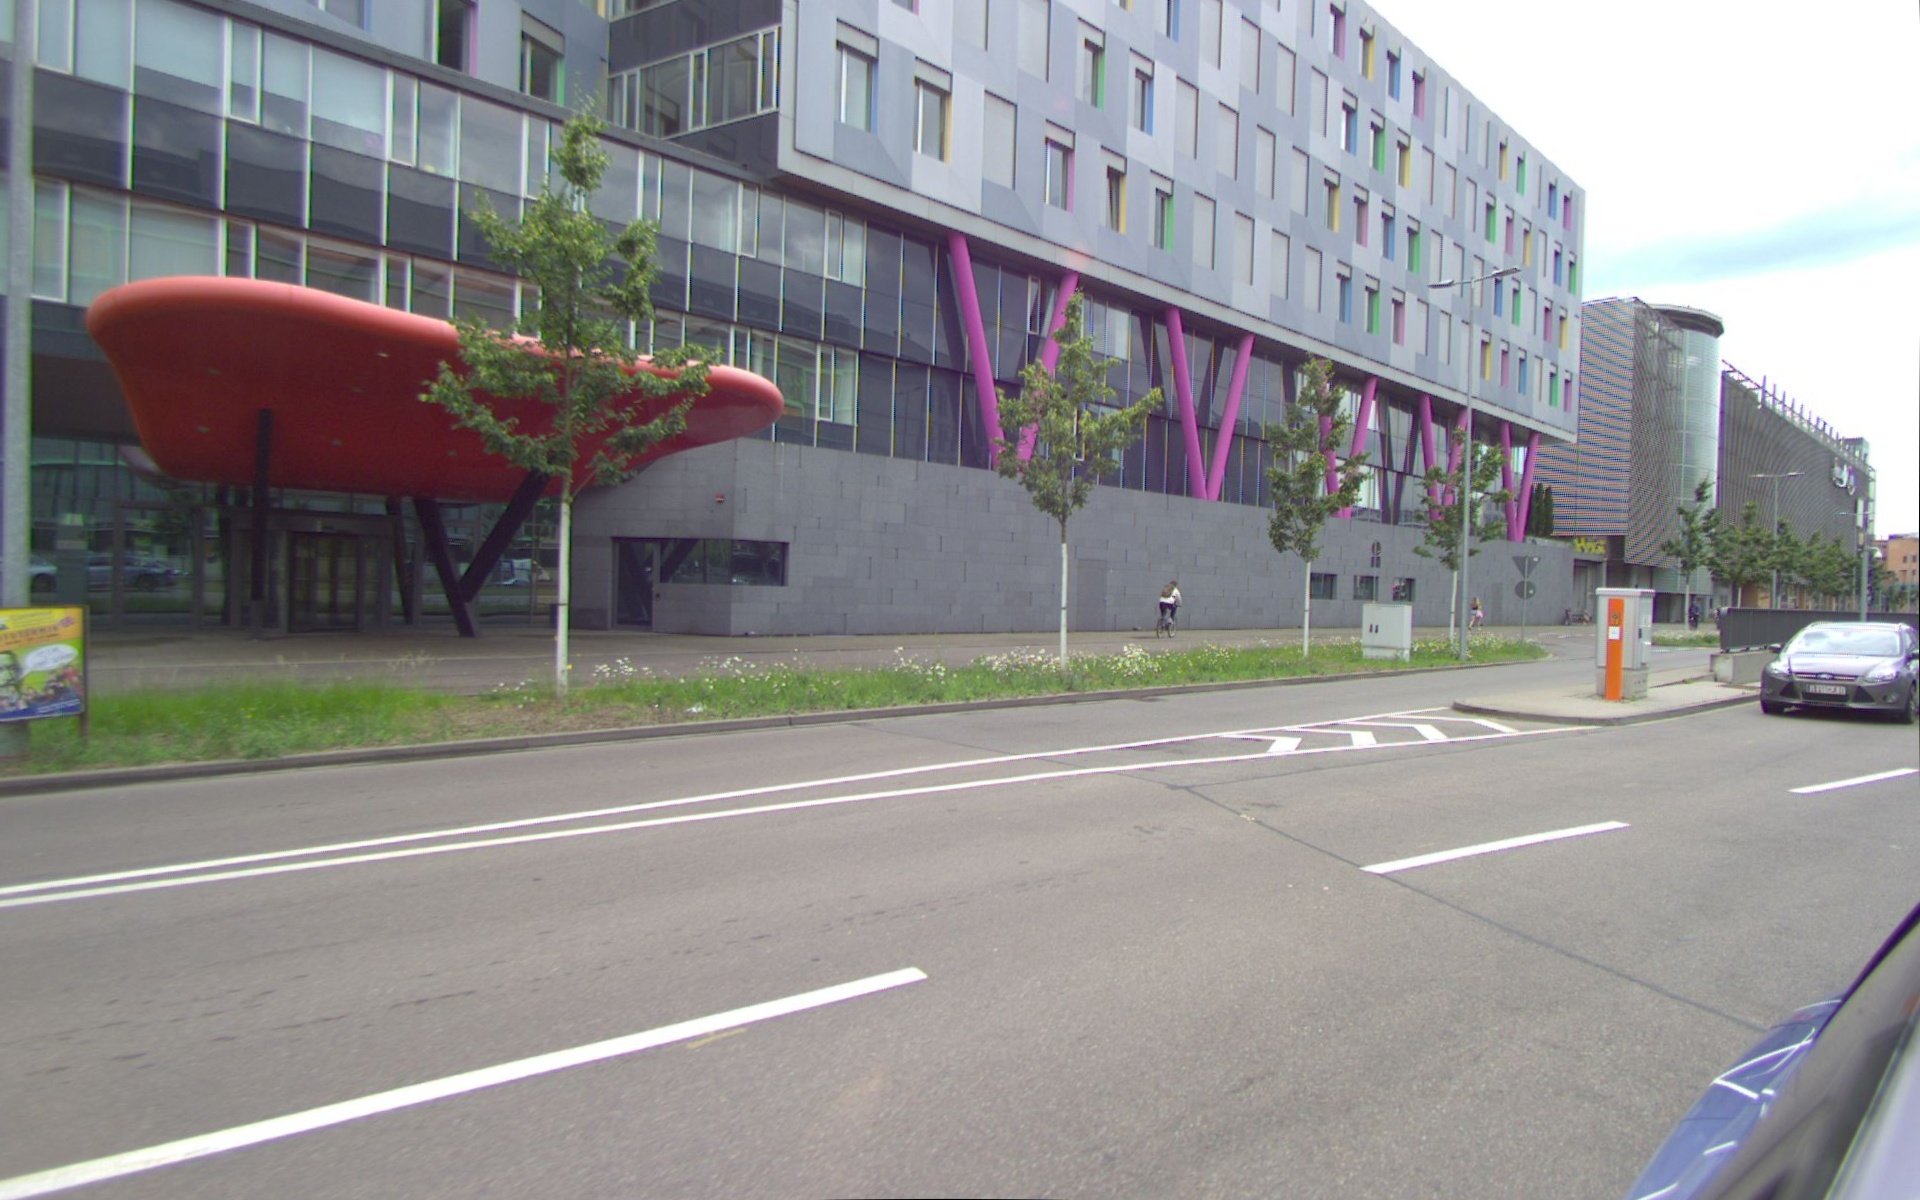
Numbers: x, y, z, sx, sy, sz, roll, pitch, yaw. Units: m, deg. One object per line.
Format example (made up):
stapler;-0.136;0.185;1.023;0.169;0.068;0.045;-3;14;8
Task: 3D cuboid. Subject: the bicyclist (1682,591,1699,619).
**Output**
bicyclist;49.644;0.362;68.787;0.692;1.826;0.783;7;-4;-41

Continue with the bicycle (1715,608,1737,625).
bicycle;53.512;1.160;70.732;2.304;1.173;0.800;2;-1;-42

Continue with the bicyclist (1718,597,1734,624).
bicyclist;53.568;0.749;70.767;0.692;1.825;0.783;3;-1;-42

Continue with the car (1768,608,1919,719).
car;14.589;0.956;16.279;4.193;1.518;1.751;2;0;-41

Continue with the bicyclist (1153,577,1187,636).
bicyclist;6.585;0.198;31.723;0.766;1.809;0.965;2;0;27

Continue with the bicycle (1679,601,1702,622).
bicycle;49.684;0.781;68.827;2.304;1.173;0.800;7;-4;-42

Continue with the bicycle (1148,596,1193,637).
bicycle;6.651;0.504;31.880;0.778;1.209;2.199;2;1;28
